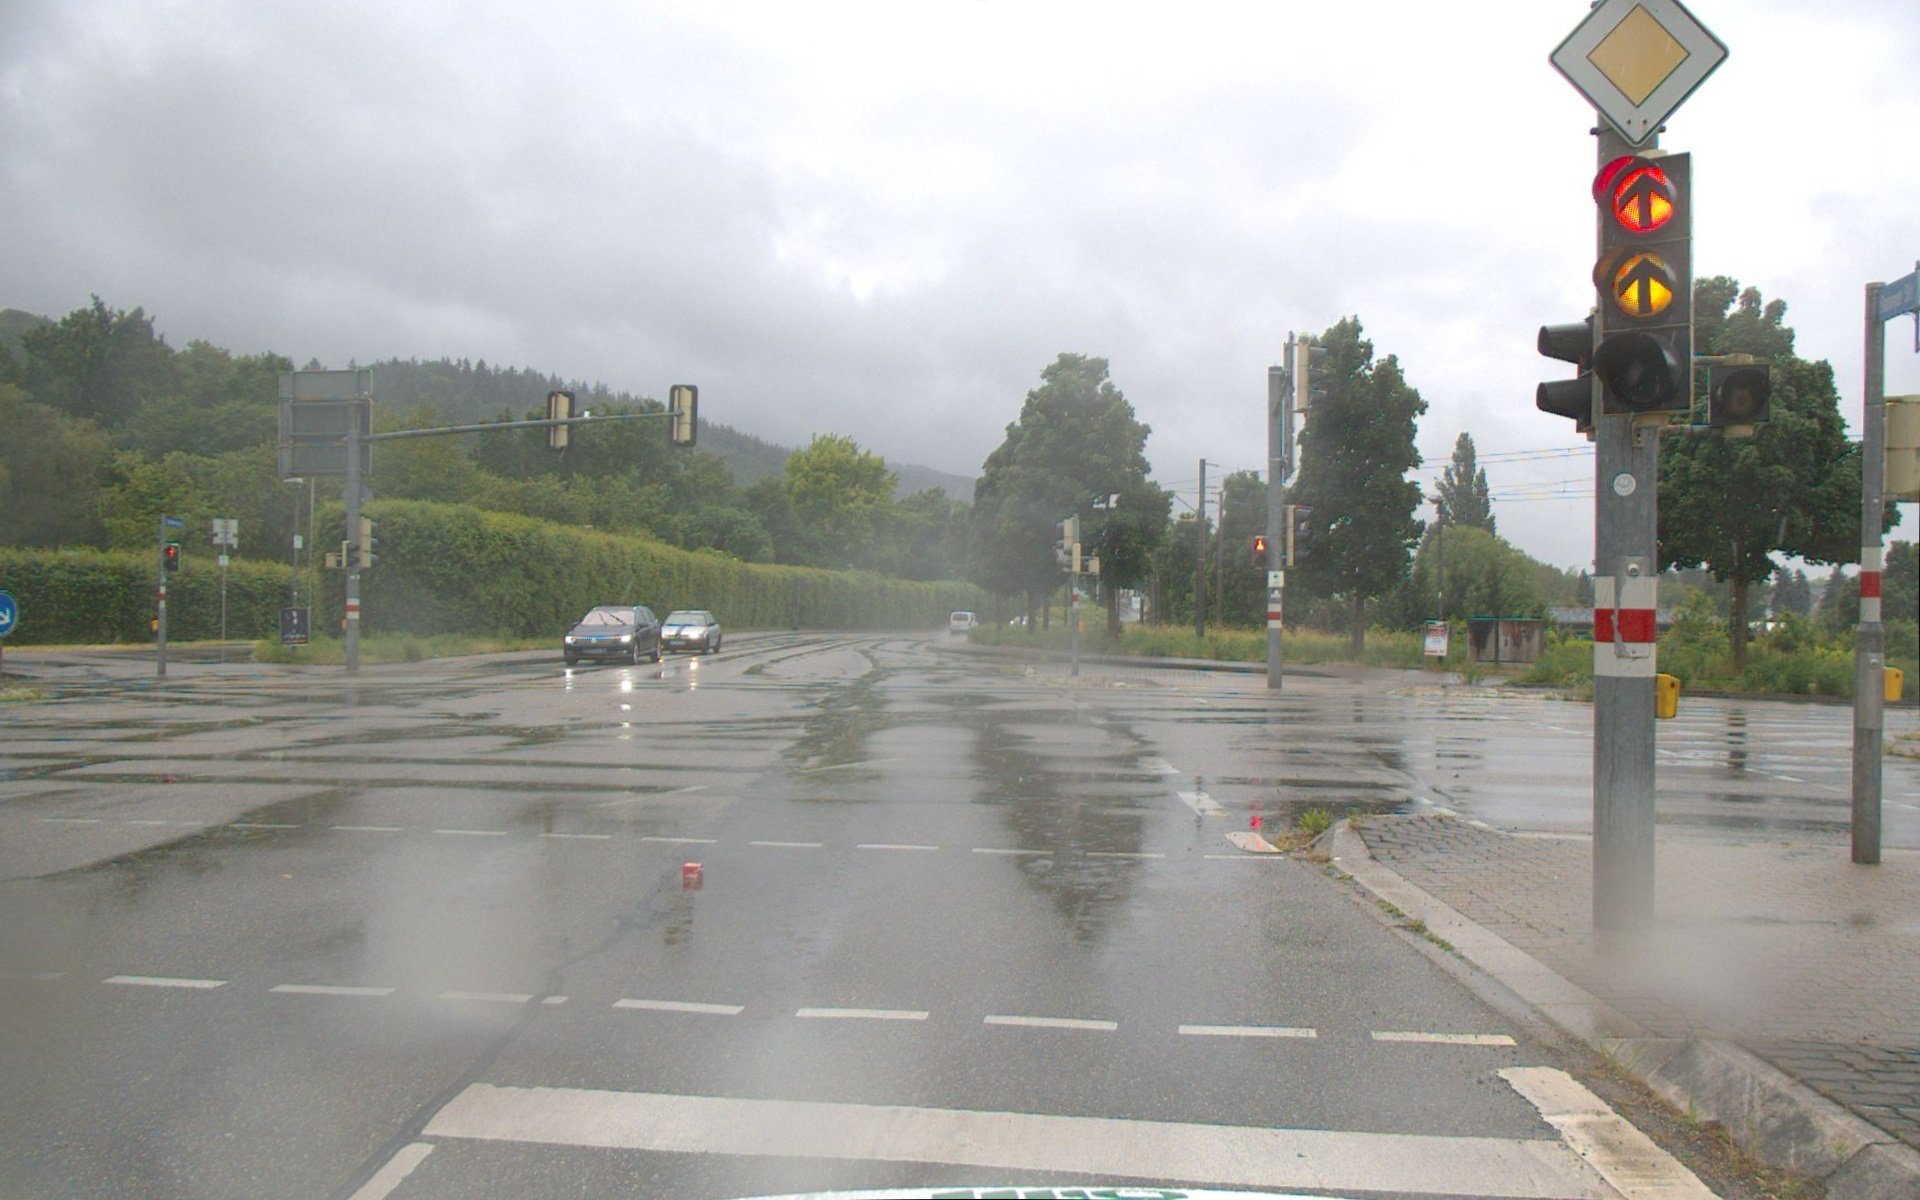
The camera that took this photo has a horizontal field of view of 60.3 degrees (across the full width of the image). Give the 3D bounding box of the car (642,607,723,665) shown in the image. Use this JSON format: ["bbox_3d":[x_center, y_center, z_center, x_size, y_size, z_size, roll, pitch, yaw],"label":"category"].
[{"bbox_3d":[-8.960,1.139,53.678,1.995,1.738,4.065,1,0,-1],"label":"car"}]

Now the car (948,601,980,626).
[{"bbox_3d":[0.304,1.035,130.456,1.911,1.937,4.123,0,0,9],"label":"car"}]

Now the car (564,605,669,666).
[{"bbox_3d":[-8.914,0.890,43.270,1.673,1.491,4.454,0,0,2],"label":"car"}]
